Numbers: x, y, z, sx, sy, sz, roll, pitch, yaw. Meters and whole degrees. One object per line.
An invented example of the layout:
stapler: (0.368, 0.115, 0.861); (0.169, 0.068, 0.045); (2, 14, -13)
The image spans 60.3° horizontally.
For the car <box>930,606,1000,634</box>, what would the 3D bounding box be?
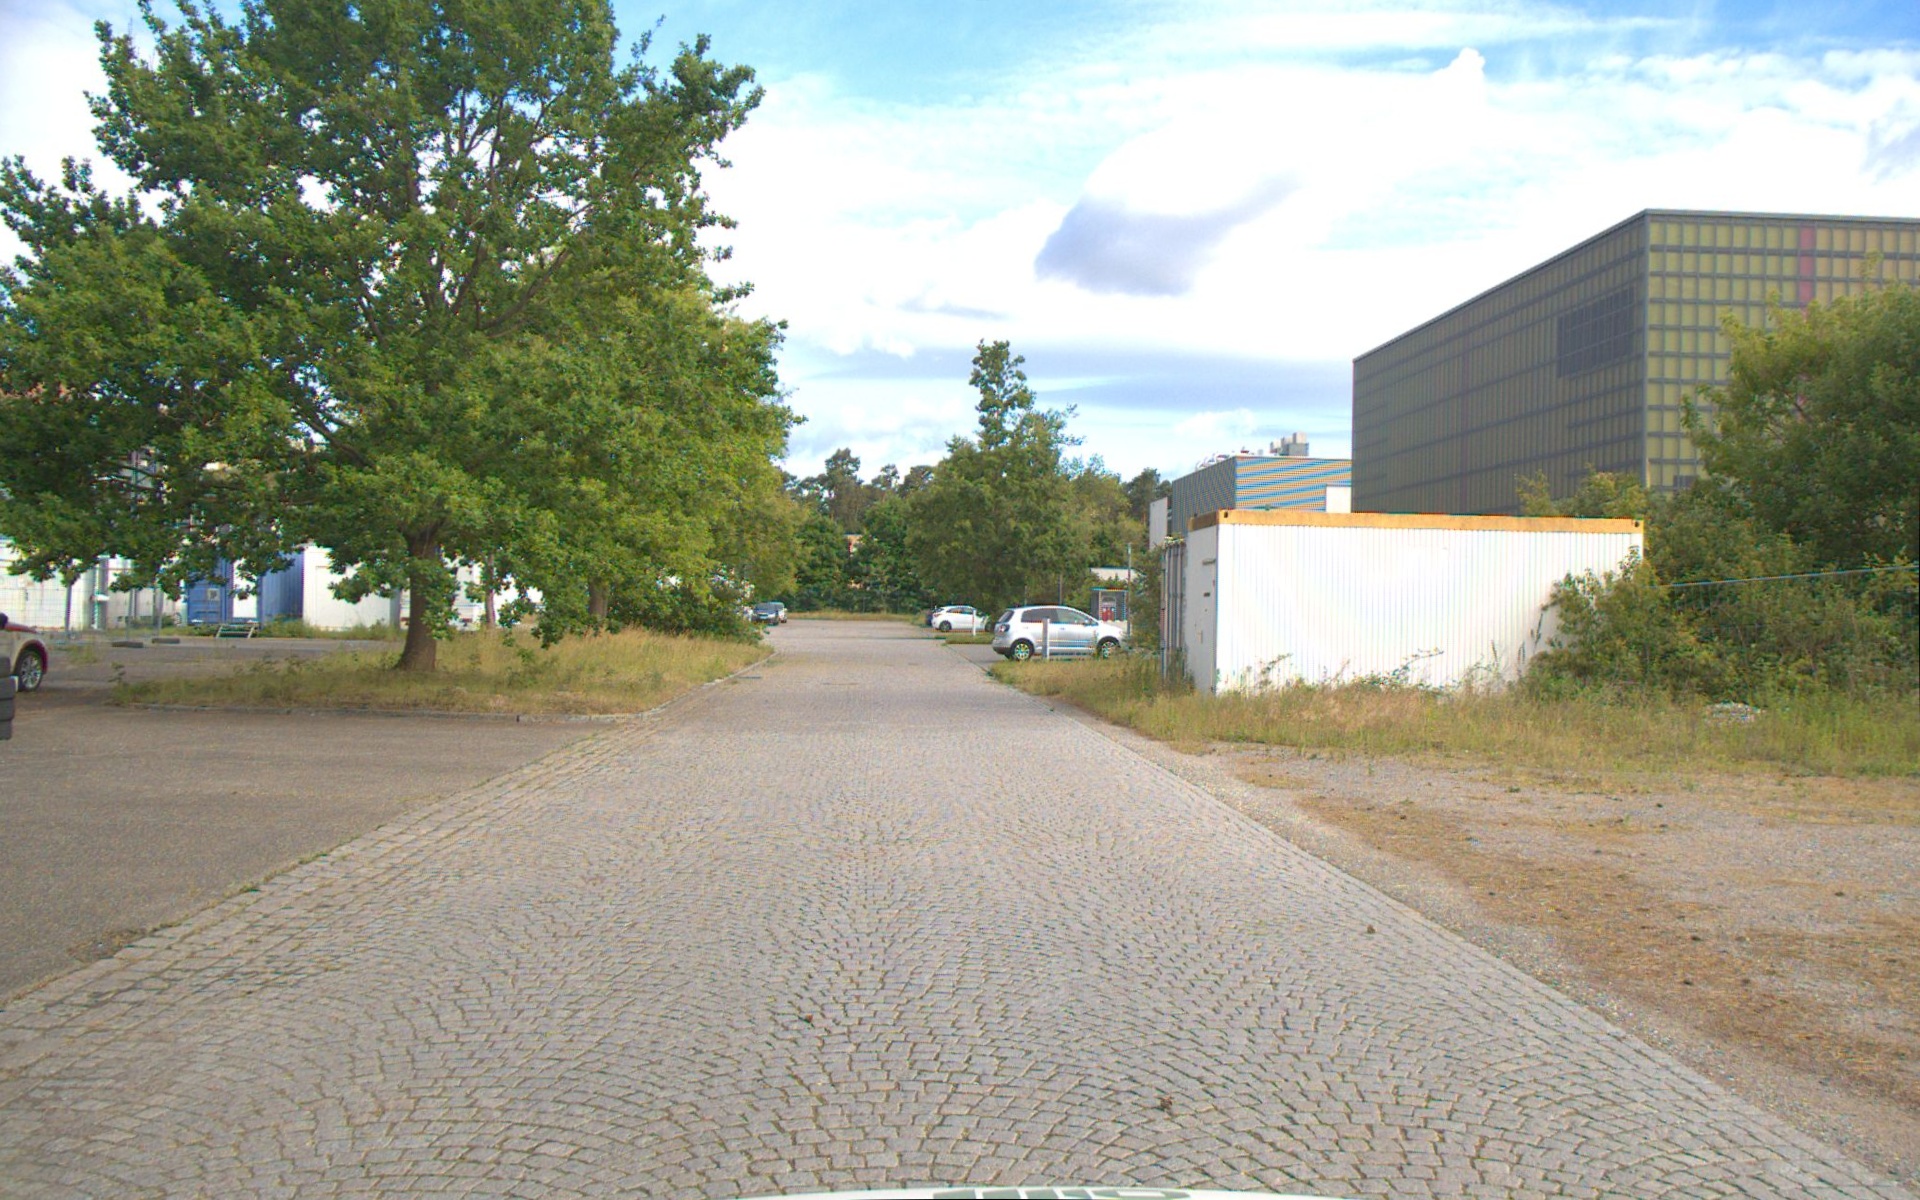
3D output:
car: (0.275, 1.121, 94.206); (3.944, 1.528, 1.547); (1, 0, -3)

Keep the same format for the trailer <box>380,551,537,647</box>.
trailer: (-17.837, -0.019, 59.502); (3.095, 3.121, 8.781); (1, 0, -2)

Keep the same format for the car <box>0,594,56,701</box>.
car: (-14.045, 0.634, 22.253); (1.730, 1.478, 3.489); (1, 0, 2)

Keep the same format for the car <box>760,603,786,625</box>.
car: (-13.759, 1.006, 121.743); (1.769, 1.562, 3.995); (1, 0, -6)

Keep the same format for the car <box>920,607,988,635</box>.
car: (-0.372, 1.260, 99.726); (3.910, 1.629, 1.727); (1, 0, -6)

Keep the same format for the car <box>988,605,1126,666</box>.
car: (2.791, 1.032, 48.153); (3.775, 1.683, 1.684); (1, 0, -6)

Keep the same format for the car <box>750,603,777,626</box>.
car: (-13.318, 0.980, 112.401); (1.701, 1.495, 4.040); (1, 0, -6)
